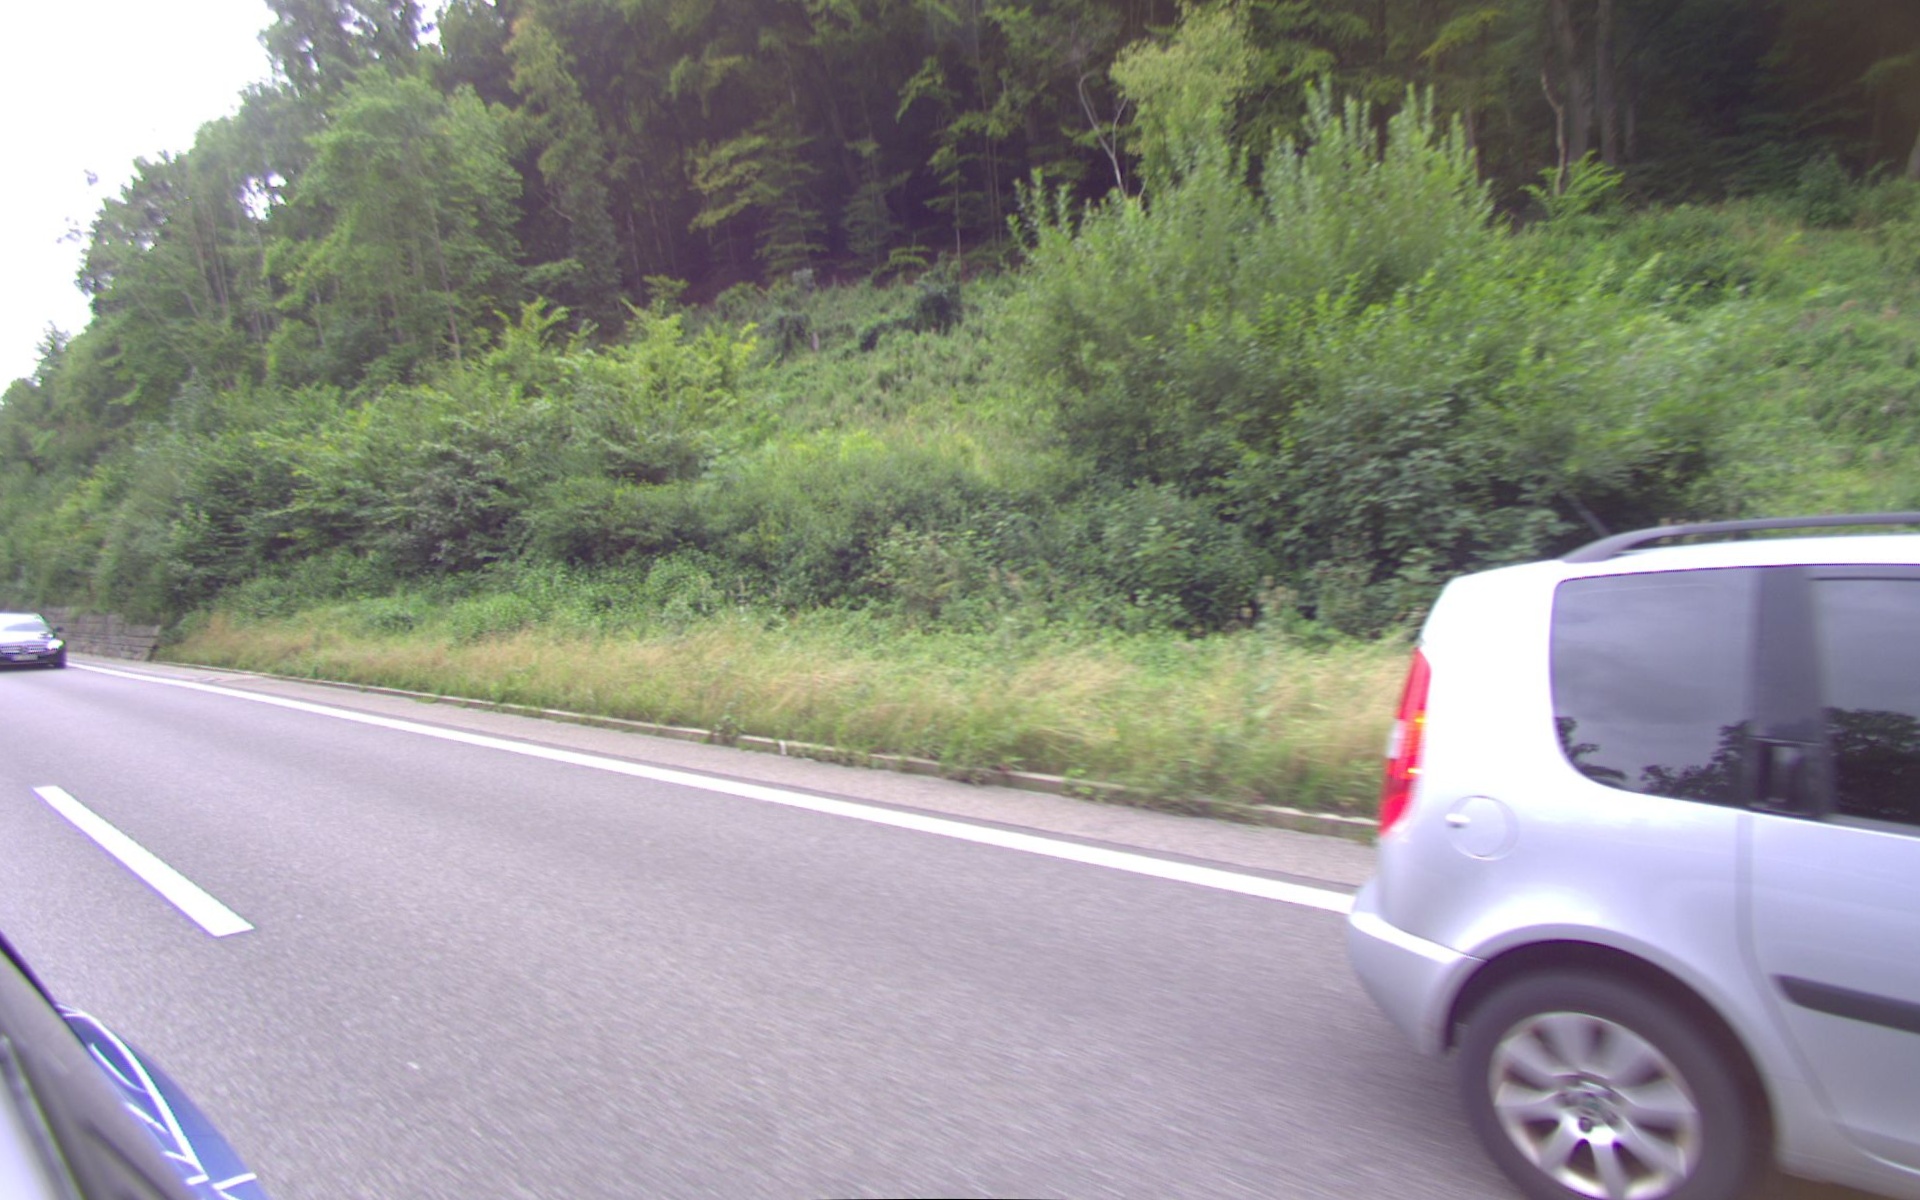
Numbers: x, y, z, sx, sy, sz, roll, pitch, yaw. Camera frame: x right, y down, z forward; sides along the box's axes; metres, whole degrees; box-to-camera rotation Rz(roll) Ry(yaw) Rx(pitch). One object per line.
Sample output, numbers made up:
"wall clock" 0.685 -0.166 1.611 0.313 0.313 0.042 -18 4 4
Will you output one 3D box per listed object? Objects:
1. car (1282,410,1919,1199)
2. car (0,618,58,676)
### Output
"car" 3.037 0.507 1.927 4.341 1.740 1.617 -1 -1 40
"car" -25.787 1.250 27.273 5.122 1.475 1.741 -2 -3 43
